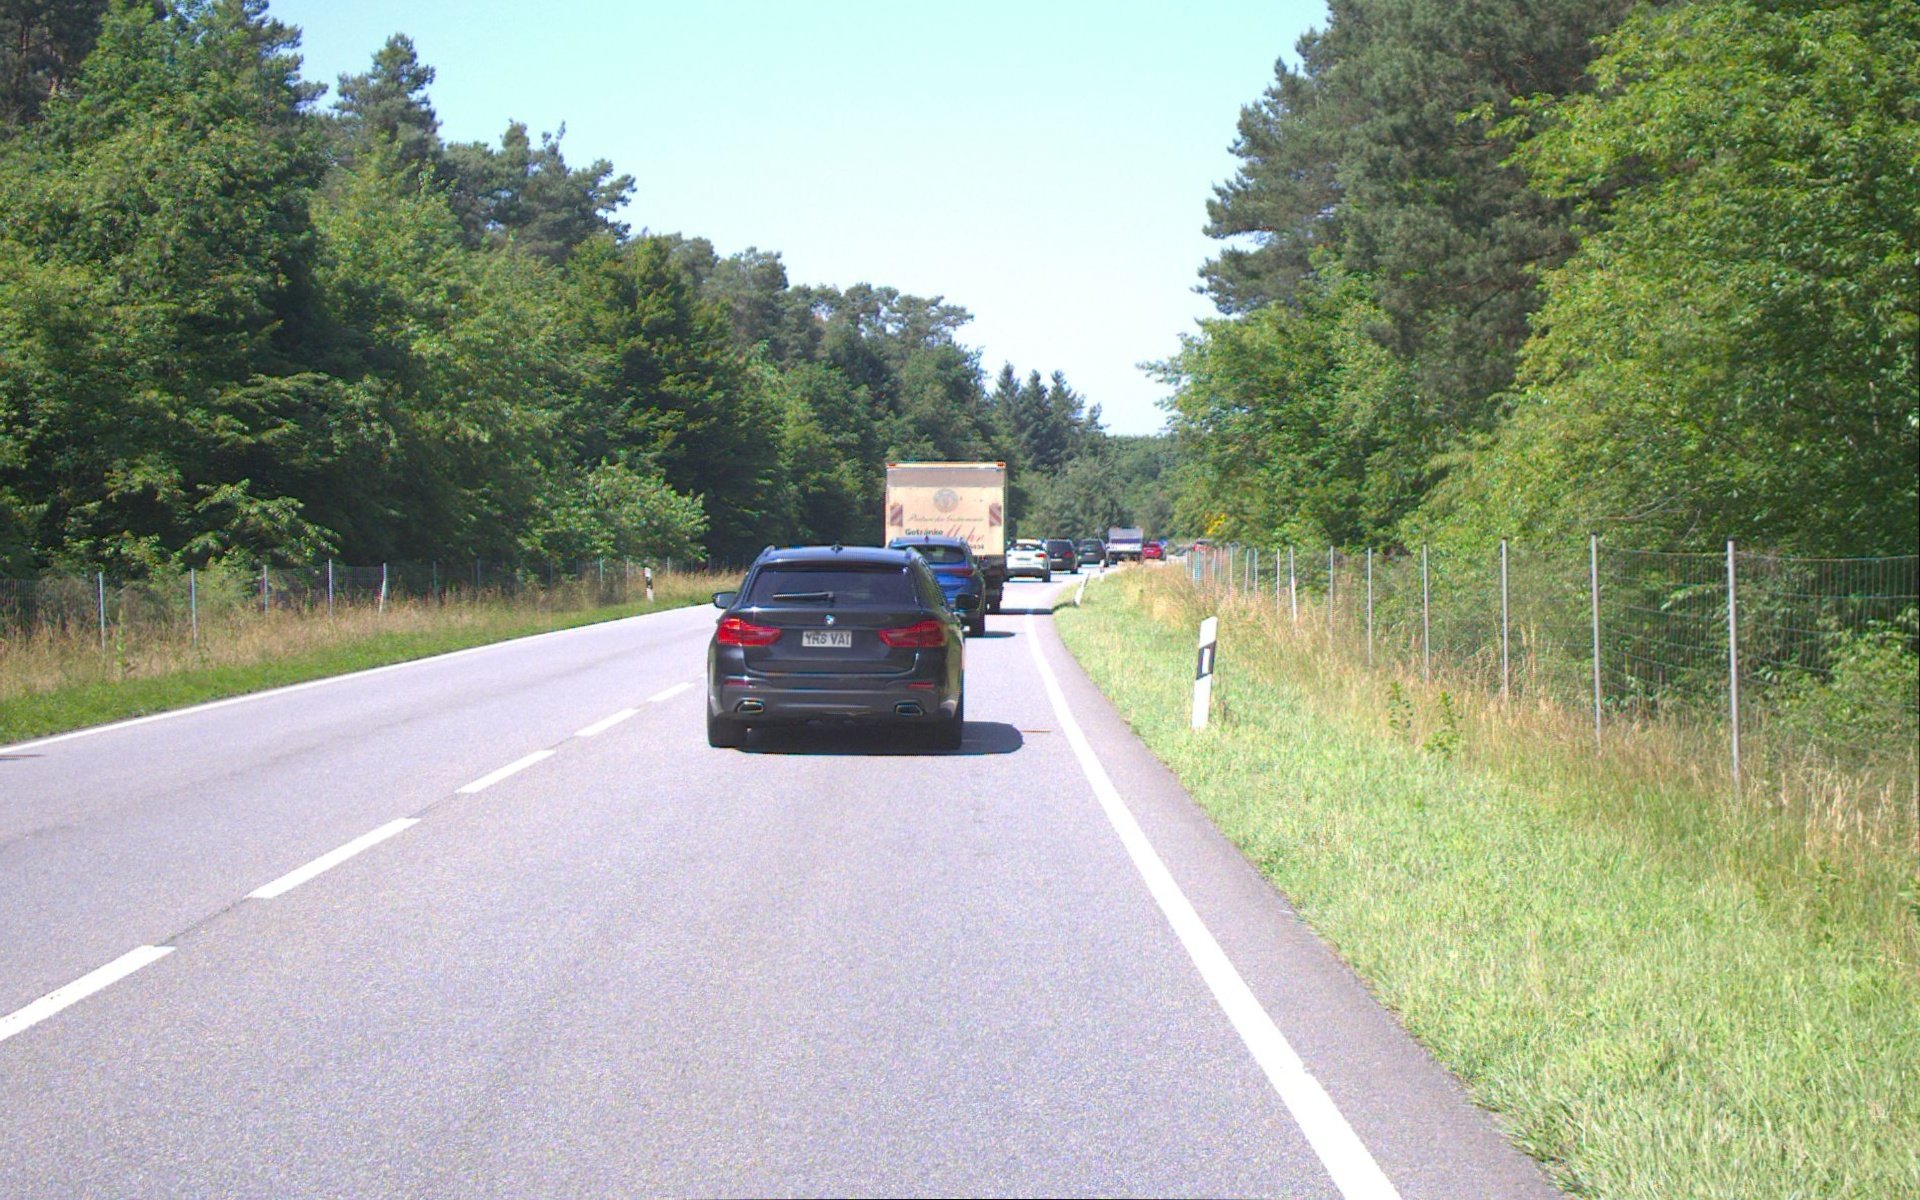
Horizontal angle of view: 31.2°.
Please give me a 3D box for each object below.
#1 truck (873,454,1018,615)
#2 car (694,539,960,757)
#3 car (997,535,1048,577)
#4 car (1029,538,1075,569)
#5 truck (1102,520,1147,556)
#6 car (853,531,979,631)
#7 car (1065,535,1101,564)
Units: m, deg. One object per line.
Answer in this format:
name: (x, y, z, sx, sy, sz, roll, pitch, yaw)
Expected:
truck: (-0.390, -1.458, 75.623, 2.965, 3.376, 6.439, 0, 1, -2)
car: (-1.013, 0.299, 25.967, 1.820, 1.465, 4.001, 1, 1, -3)
car: (2.392, -1.719, 132.887, 1.863, 1.600, 4.000, 0, 1, -1)
car: (4.345, -2.199, 163.137, 1.993, 1.415, 4.000, 1, 1, -1)
truck: (10.539, -3.990, 219.928, 2.564, 2.194, 4.973, -1, 2, 6)
car: (-0.718, -0.340, 56.384, 1.947, 1.536, 4.000, -1, 1, -1)
car: (7.044, -2.888, 196.298, 1.994, 1.631, 4.000, -1, 1, 3)
